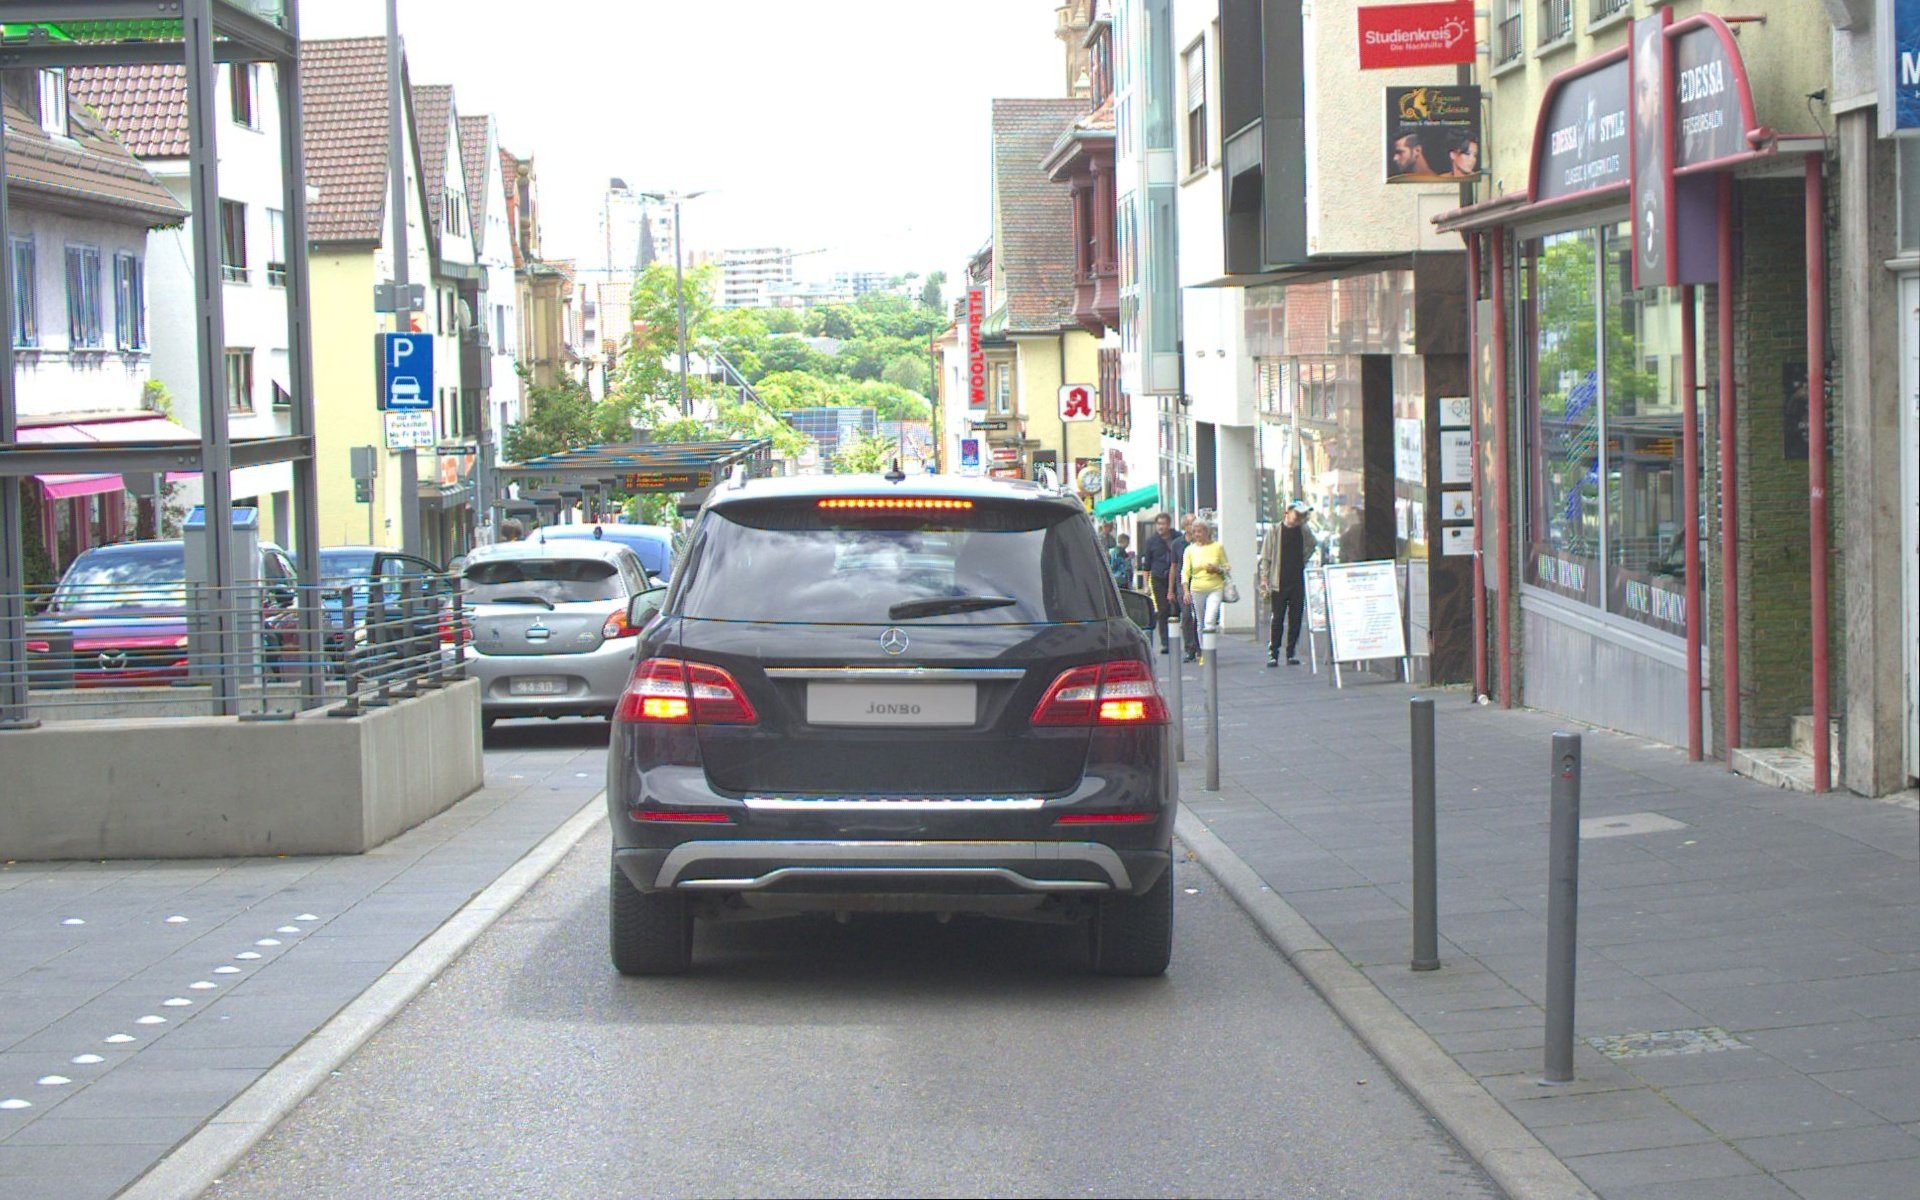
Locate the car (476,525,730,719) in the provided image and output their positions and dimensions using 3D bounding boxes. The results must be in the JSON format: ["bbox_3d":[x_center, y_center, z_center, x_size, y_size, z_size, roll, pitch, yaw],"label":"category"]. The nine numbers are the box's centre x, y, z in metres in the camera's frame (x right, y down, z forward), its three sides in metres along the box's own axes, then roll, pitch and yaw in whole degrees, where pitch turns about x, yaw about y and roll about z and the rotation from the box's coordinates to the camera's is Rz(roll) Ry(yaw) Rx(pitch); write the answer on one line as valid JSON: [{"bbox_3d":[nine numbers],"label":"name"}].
[{"bbox_3d":[-3.187,0.153,31.453,1.956,1.634,4.315,1,1,-1],"label":"car"}]

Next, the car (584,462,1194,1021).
[{"bbox_3d":[-0.322,0.417,12.805,1.900,1.741,4.001,1,1,-3],"label":"car"}]

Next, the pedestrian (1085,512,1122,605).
[{"bbox_3d":[2.632,-0.762,63.155,0.573,1.683,0.566,1,1,-7],"label":"pedestrian"}]

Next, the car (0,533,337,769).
[{"bbox_3d":[-5.673,0.303,24.639,1.739,1.537,4.193,1,1,-1],"label":"car"}]

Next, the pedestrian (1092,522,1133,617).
[{"bbox_3d":[2.766,-0.556,62.408,0.573,1.683,0.566,-2,1,-7],"label":"pedestrian"}]

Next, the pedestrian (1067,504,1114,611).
[{"bbox_3d":[2.056,-0.670,54.206,0.621,1.683,0.566,1,1,-7],"label":"pedestrian"}]

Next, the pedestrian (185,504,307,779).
[{"bbox_3d":[-4.419,0.241,21.317,0.533,1.666,0.901,0,1,1],"label":"pedestrian"}]

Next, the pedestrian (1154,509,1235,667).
[{"bbox_3d":[2.491,-0.133,36.585,0.711,1.625,0.835,-3,1,-1],"label":"pedestrian"}]

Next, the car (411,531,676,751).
[{"bbox_3d":[-3.062,0.261,25.865,1.620,1.527,3.671,1,1,-1],"label":"car"}]

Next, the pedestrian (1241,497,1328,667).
[{"bbox_3d":[3.341,-0.190,35.417,0.662,1.683,0.543,-5,1,-7],"label":"pedestrian"}]

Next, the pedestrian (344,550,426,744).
[{"bbox_3d":[-4.324,0.346,25.861,0.466,1.427,0.492,-3,1,-1],"label":"pedestrian"}]

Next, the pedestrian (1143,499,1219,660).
[{"bbox_3d":[2.467,-0.236,38.438,0.711,1.747,0.785,-3,1,-1],"label":"pedestrian"}]

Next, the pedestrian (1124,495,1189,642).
[{"bbox_3d":[2.357,-0.384,41.278,0.711,1.747,0.787,-1,1,-1],"label":"pedestrian"}]

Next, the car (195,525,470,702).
[{"bbox_3d":[-5.721,0.078,31.772,1.739,1.470,3.884,1,2,1],"label":"car"}]
